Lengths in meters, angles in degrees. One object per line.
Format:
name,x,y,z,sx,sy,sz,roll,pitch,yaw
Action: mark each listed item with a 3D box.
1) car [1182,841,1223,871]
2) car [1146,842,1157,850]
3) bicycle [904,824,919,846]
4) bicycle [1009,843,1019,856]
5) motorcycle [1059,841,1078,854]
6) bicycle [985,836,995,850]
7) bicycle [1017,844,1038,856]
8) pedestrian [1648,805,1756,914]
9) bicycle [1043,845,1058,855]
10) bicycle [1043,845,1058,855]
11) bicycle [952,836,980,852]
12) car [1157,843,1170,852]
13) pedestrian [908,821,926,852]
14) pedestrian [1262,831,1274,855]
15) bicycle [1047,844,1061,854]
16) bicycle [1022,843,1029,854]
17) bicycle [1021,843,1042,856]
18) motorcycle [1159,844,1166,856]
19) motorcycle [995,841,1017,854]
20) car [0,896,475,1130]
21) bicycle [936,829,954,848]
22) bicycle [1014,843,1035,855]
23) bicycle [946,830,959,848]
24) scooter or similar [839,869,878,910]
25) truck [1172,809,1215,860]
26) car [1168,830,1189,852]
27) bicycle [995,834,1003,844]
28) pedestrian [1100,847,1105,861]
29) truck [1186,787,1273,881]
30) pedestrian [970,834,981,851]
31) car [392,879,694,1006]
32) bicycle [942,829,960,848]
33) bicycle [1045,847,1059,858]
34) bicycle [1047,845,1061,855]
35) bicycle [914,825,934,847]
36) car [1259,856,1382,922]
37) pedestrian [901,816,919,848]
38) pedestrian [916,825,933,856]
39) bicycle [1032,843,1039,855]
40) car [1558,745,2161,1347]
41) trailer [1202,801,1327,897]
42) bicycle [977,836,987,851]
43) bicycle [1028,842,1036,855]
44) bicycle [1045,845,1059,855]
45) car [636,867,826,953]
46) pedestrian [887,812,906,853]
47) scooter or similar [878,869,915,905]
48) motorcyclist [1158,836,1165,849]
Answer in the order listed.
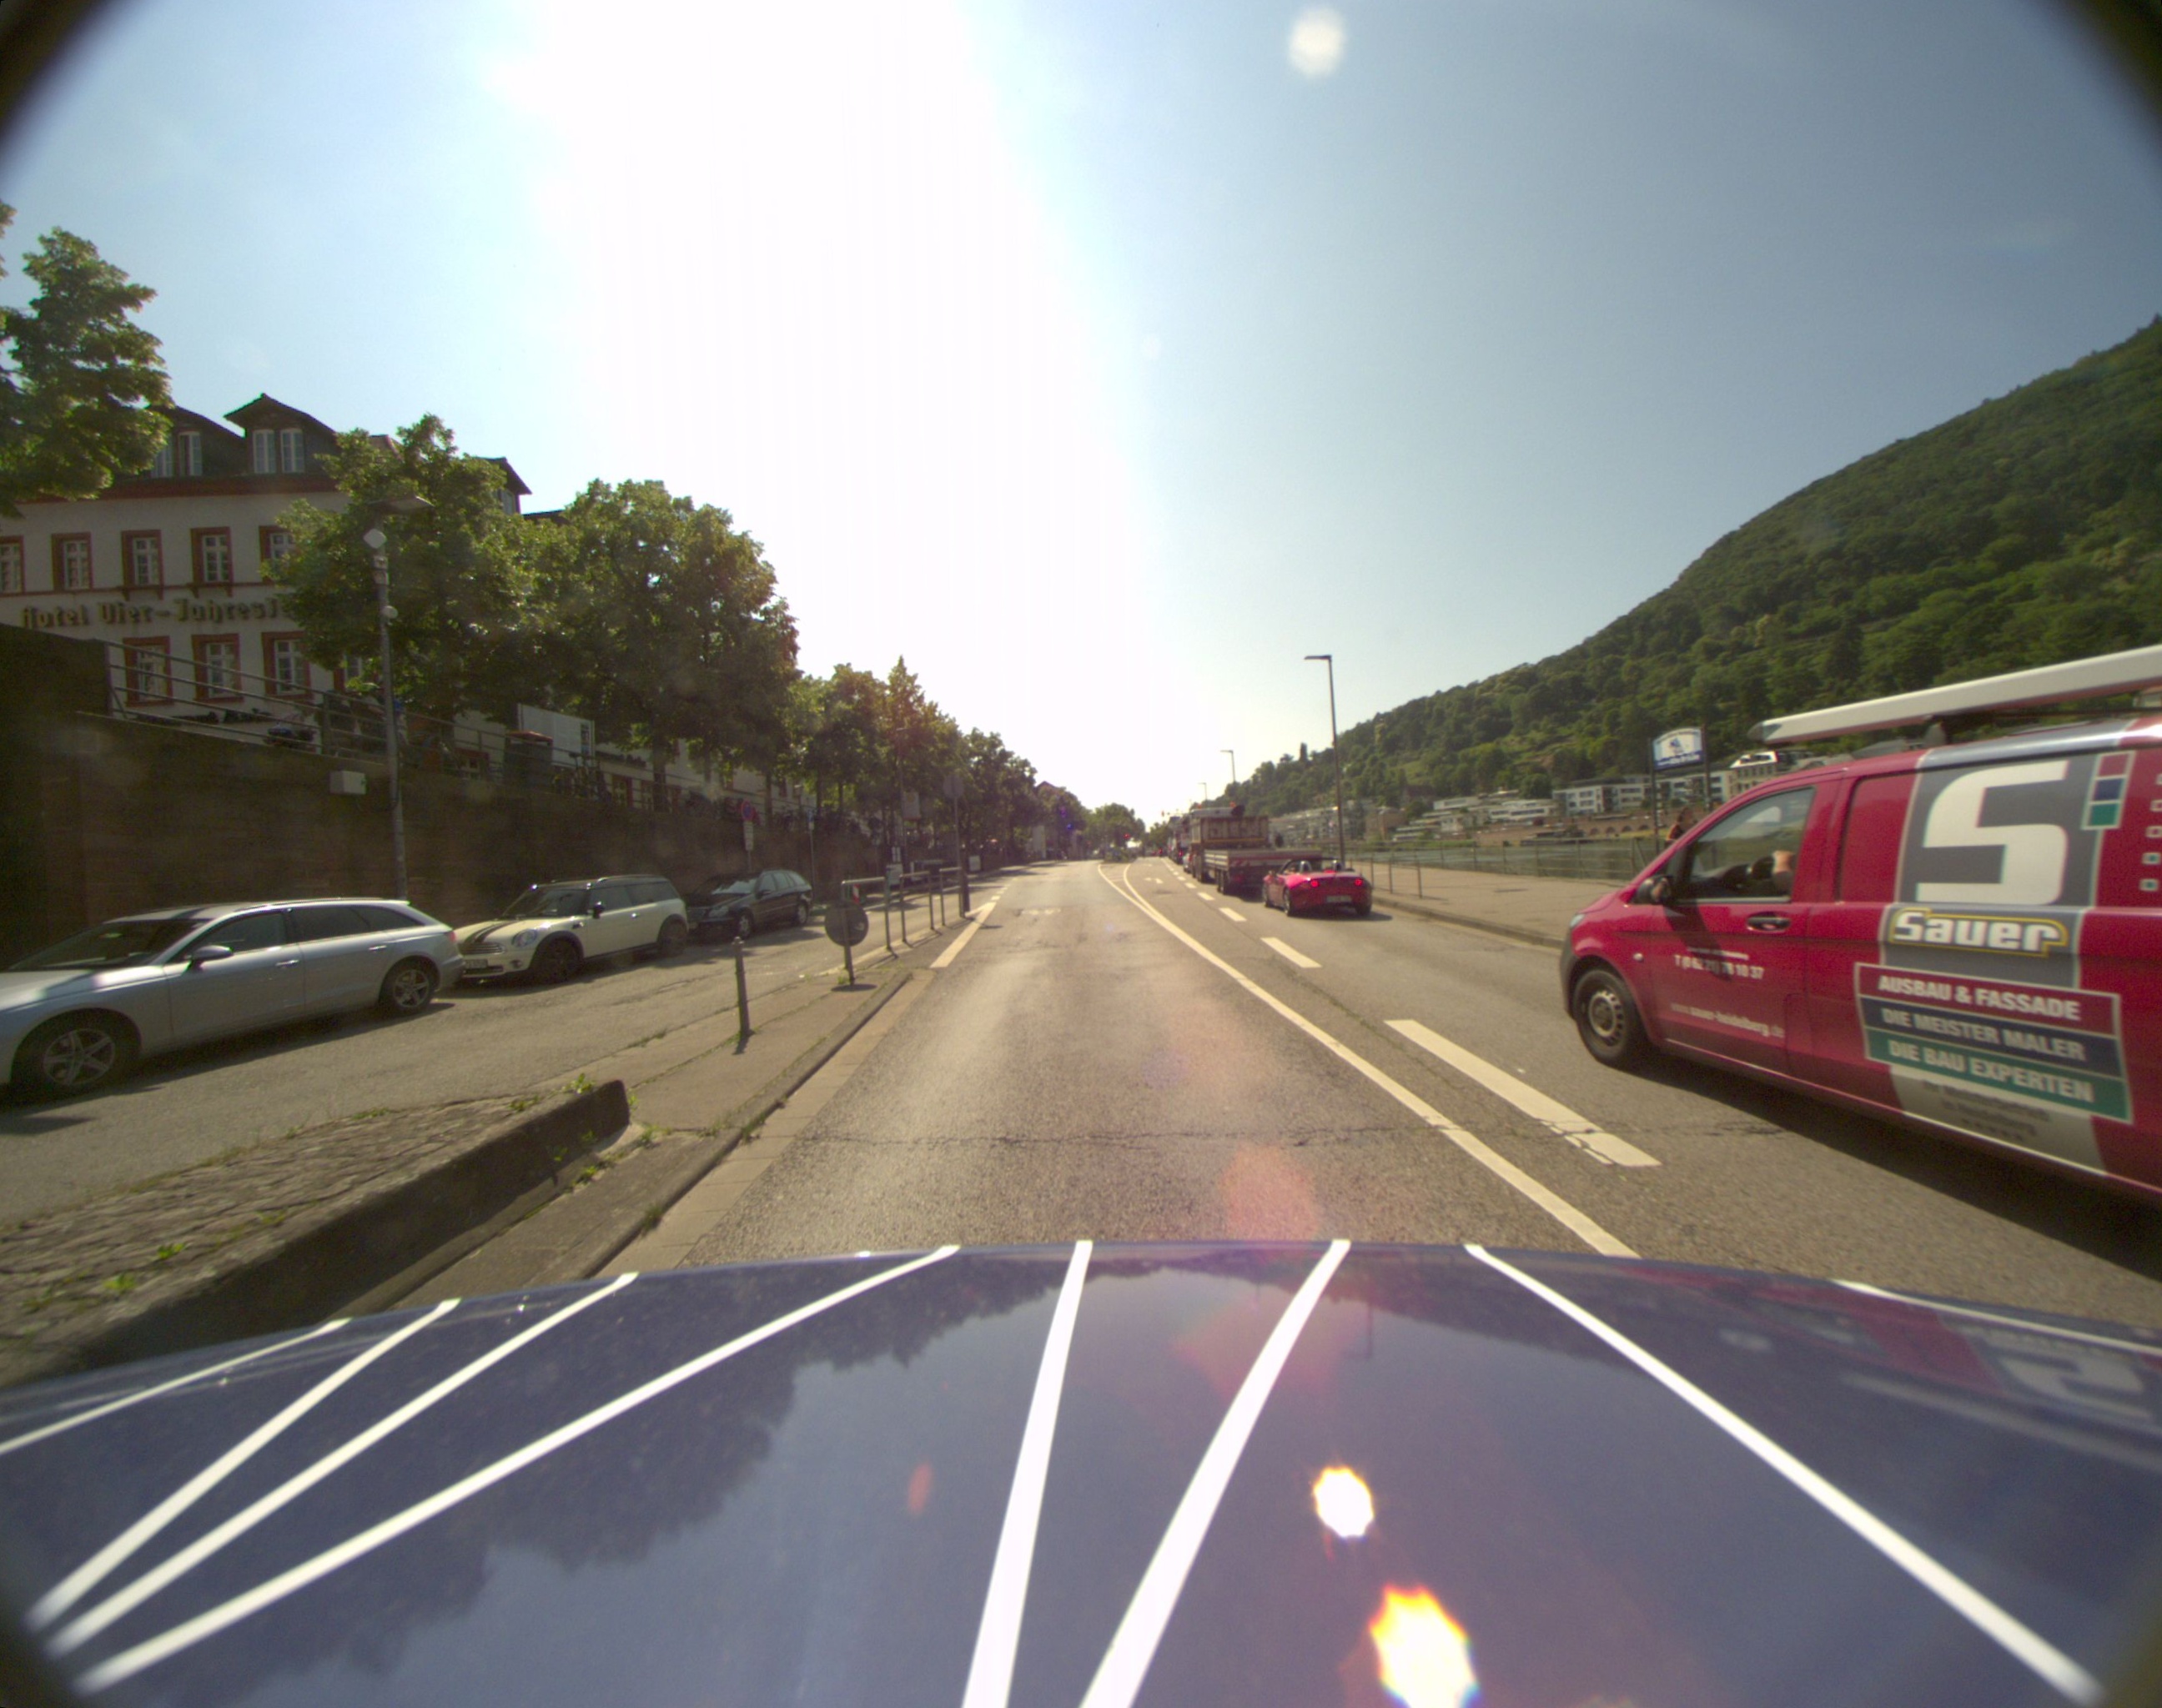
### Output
car,6.412,0.080,40.539,1.781,1.435,3.998,-3,1,5
car,13.771,-1.610,147.941,1.907,1.428,3.892,-3,1,4
bicycle,-8.568,-0.952,38.491,0.411,1.099,1.734,-2,1,-3
bicycle,-5.818,-0.427,65.774,0.345,1.106,1.920,-3,1,9
motorcycle,-1.461,-0.802,90.997,2.196,1.519,0.800,-2,1,41
bicycle,-6.710,-0.779,56.183,0.298,0.999,1.942,-3,0,4
bicycle,-5.694,-0.435,80.447,2.160,1.255,0.477,-1,1,5
pedestrian,10.282,0.078,12.628,0.818,1.691,1.151,-4,1,2
bicycle,-3.501,-0.408,86.906,1.753,1.127,0.464,-1,1,1
bicycle,-3.522,-0.439,87.649,1.753,1.127,0.464,-1,1,1
bicycle,-7.941,-0.673,52.662,1.858,0.999,0.299,-3,1,2
car,14.247,-1.184,131.524,1.998,1.444,4.262,-4,1,4
pedestrian,-9.121,-0.982,42.265,0.720,1.711,0.573,-3,1,4
pedestrian,13.644,-0.796,55.410,0.713,1.697,0.845,-3,1,7
bicycle,-3.104,-0.597,88.381,1.631,1.127,0.413,-1,1,1
bicycle,-5.230,-0.517,72.022,0.301,1.043,2.163,-1,0,6
bicycle,-5.404,-0.530,82.515,2.160,1.360,0.584,-1,1,5
motorcycle,9.705,-0.486,90.879,0.727,1.379,2.512,-3,1,7
motorcycle,-6.683,-0.583,67.670,1.920,1.092,0.574,-2,2,-3
car,-8.812,1.351,7.368,1.757,1.424,4.756,-3,1,4
bicycle,-7.979,-0.908,44.597,0.411,1.099,1.735,-3,1,9
bicycle,-5.884,-0.496,79.630,2.160,1.255,0.421,-1,1,5
bicycle,-8.583,-0.994,50.899,0.382,1.133,1.934,-3,0,4
scooter or similar,-7.143,1.123,24.439,0.532,1.223,1.272,-2,2,18
truck,8.438,-1.448,58.066,2.647,3.456,11.110,-3,1,6
car,11.341,-1.513,88.620,2.199,2.511,4.749,0,1,5
bicycle,-6.500,-1.183,60.207,0.350,0.779,1.919,-3,1,2
pedestrian,2.738,-0.006,96.623,0.541,1.767,0.582,-2,1,3
truck,6.109,-0.854,32.400,2.648,3.437,7.871,-2,1,4
pedestrian,-7.889,-0.850,56.924,0.696,1.257,0.669,-3,1,1
car,-8.154,1.254,12.040,1.615,1.405,3.904,-3,1,7
bicycle,-7.926,-0.933,46.290,0.411,1.099,1.925,-3,1,9
bicycle,-3.427,-0.196,89.674,1.631,1.210,0.413,-1,1,1
bicycle,-3.176,-0.468,90.629,1.628,1.163,0.425,-1,1,23
bicycle,-8.340,-0.955,40.457,0.411,1.099,1.735,-2,1,9
car,5.149,0.688,16.801,1.675,1.187,3.628,-2,1,2
pedestrian,-9.378,-1.215,41.658,0.720,1.711,0.711,-3,1,5
pedestrian,-8.832,-0.741,42.877,0.720,1.711,0.573,-3,1,4
bicycle,-4.699,-0.504,78.538,0.476,1.254,2.162,-1,1,3
car,4.208,0.550,3.010,1.879,1.817,4.544,-2,0,2
trailer,5.484,-0.227,23.896,2.703,2.516,6.947,-2,2,4
bicycle,-7.066,-0.733,54.066,0.298,0.999,1.860,-3,0,4
bicycle,-4.896,-0.569,76.285,0.476,1.254,2.162,-1,1,3
bicycle,-3.391,-0.450,89.973,1.631,1.163,0.350,-1,1,1
car,-7.663,1.144,17.238,1.847,1.442,4.535,-3,1,5
pedestrian,-10.012,-1.171,41.314,0.720,2.176,0.711,-3,1,5
scooter or similar,-6.073,1.079,25.127,0.532,1.083,1.440,-2,1,14
motorcyclist,9.679,-1.440,91.278,0.703,1.518,0.861,-3,1,7
